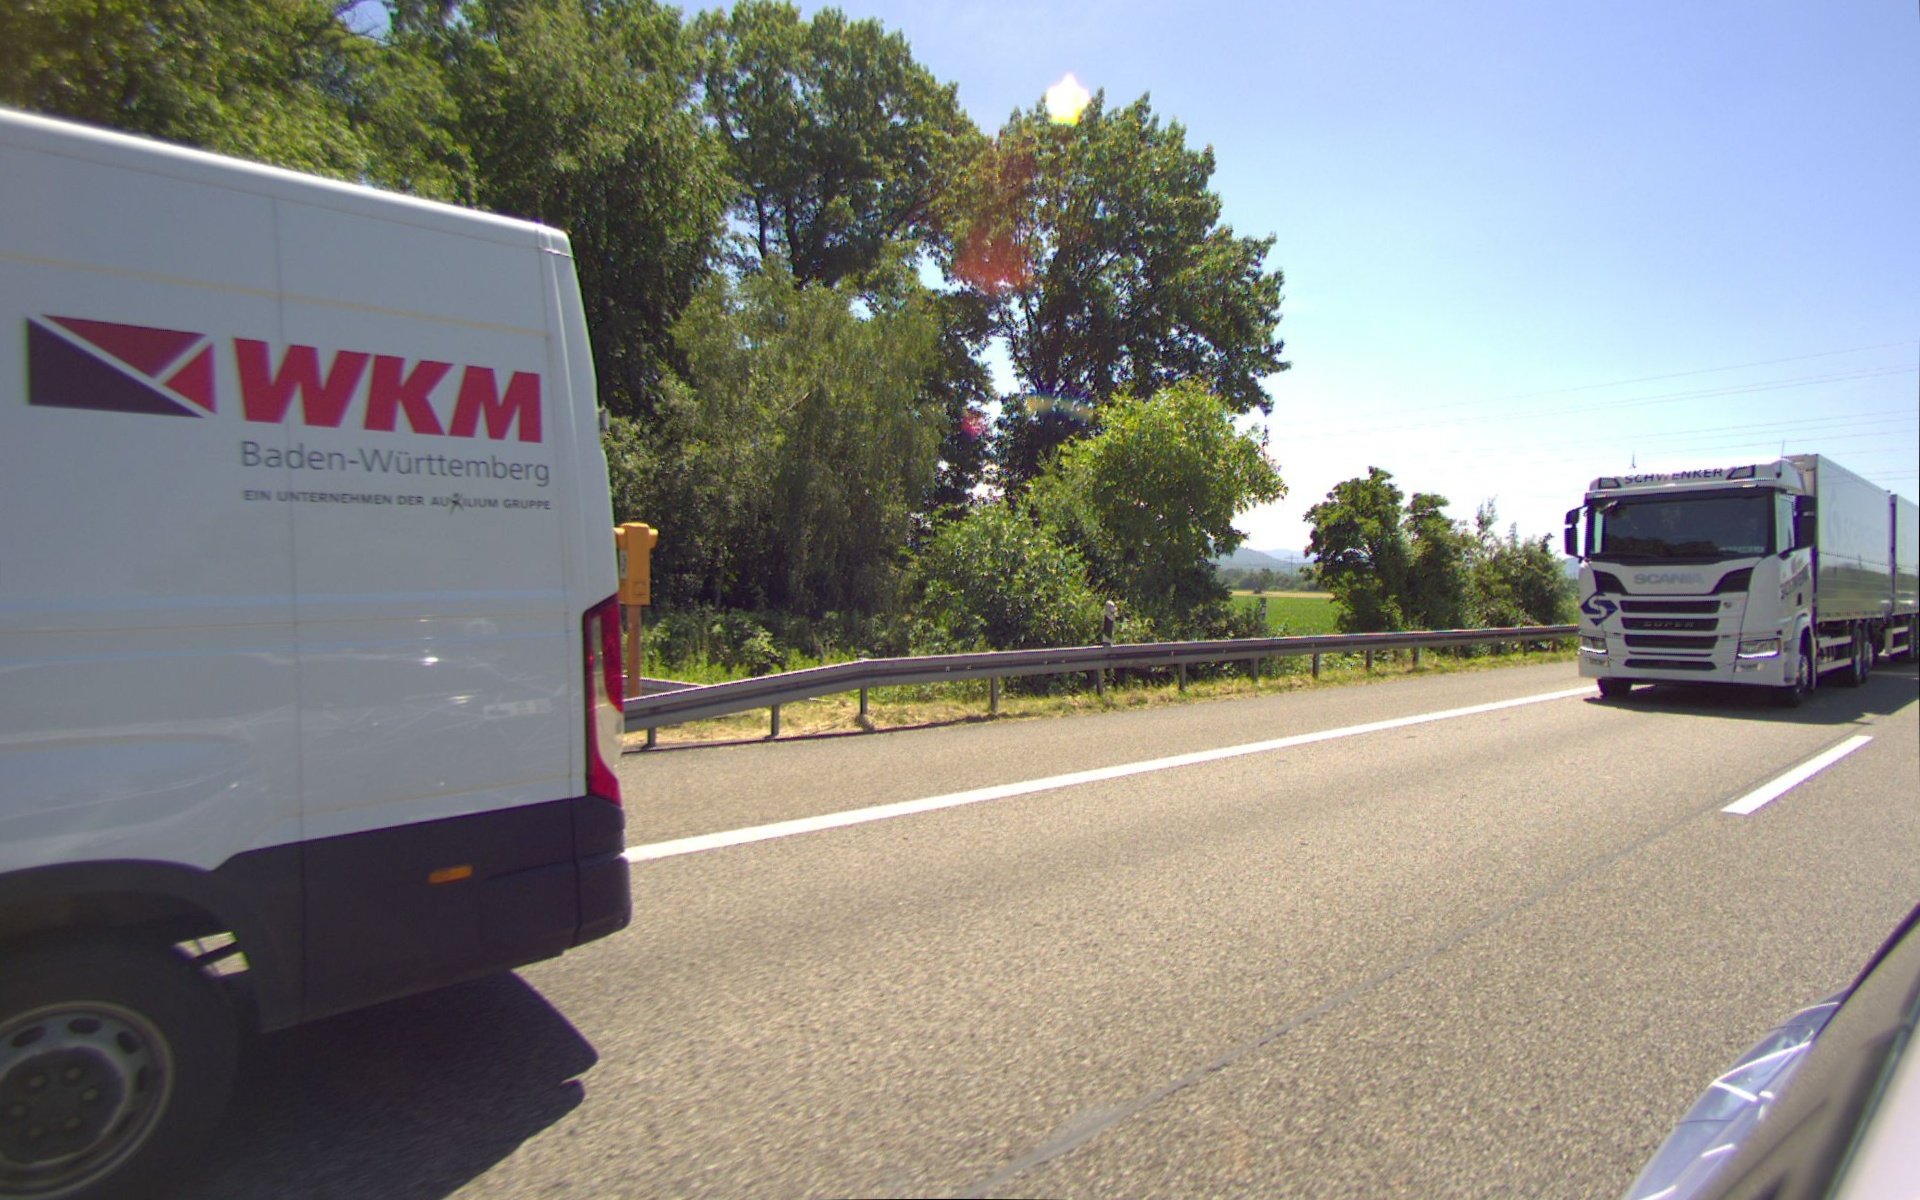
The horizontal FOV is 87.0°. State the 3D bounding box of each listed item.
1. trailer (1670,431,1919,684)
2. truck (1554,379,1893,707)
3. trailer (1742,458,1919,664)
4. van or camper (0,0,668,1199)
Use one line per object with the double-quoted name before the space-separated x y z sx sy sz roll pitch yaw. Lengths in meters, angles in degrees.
"trailer" 16.680 -0.726 19.813 7.190 4.092 2.924 -1 0 -41
"truck" 12.173 -0.746 15.893 6.749 4.081 2.894 -1 0 -41
"trailer" 21.222 -0.817 23.851 7.987 4.114 2.950 -1 0 -41
"van or camper" -3.954 0.048 1.808 6.374 2.671 2.025 0 0 -41
